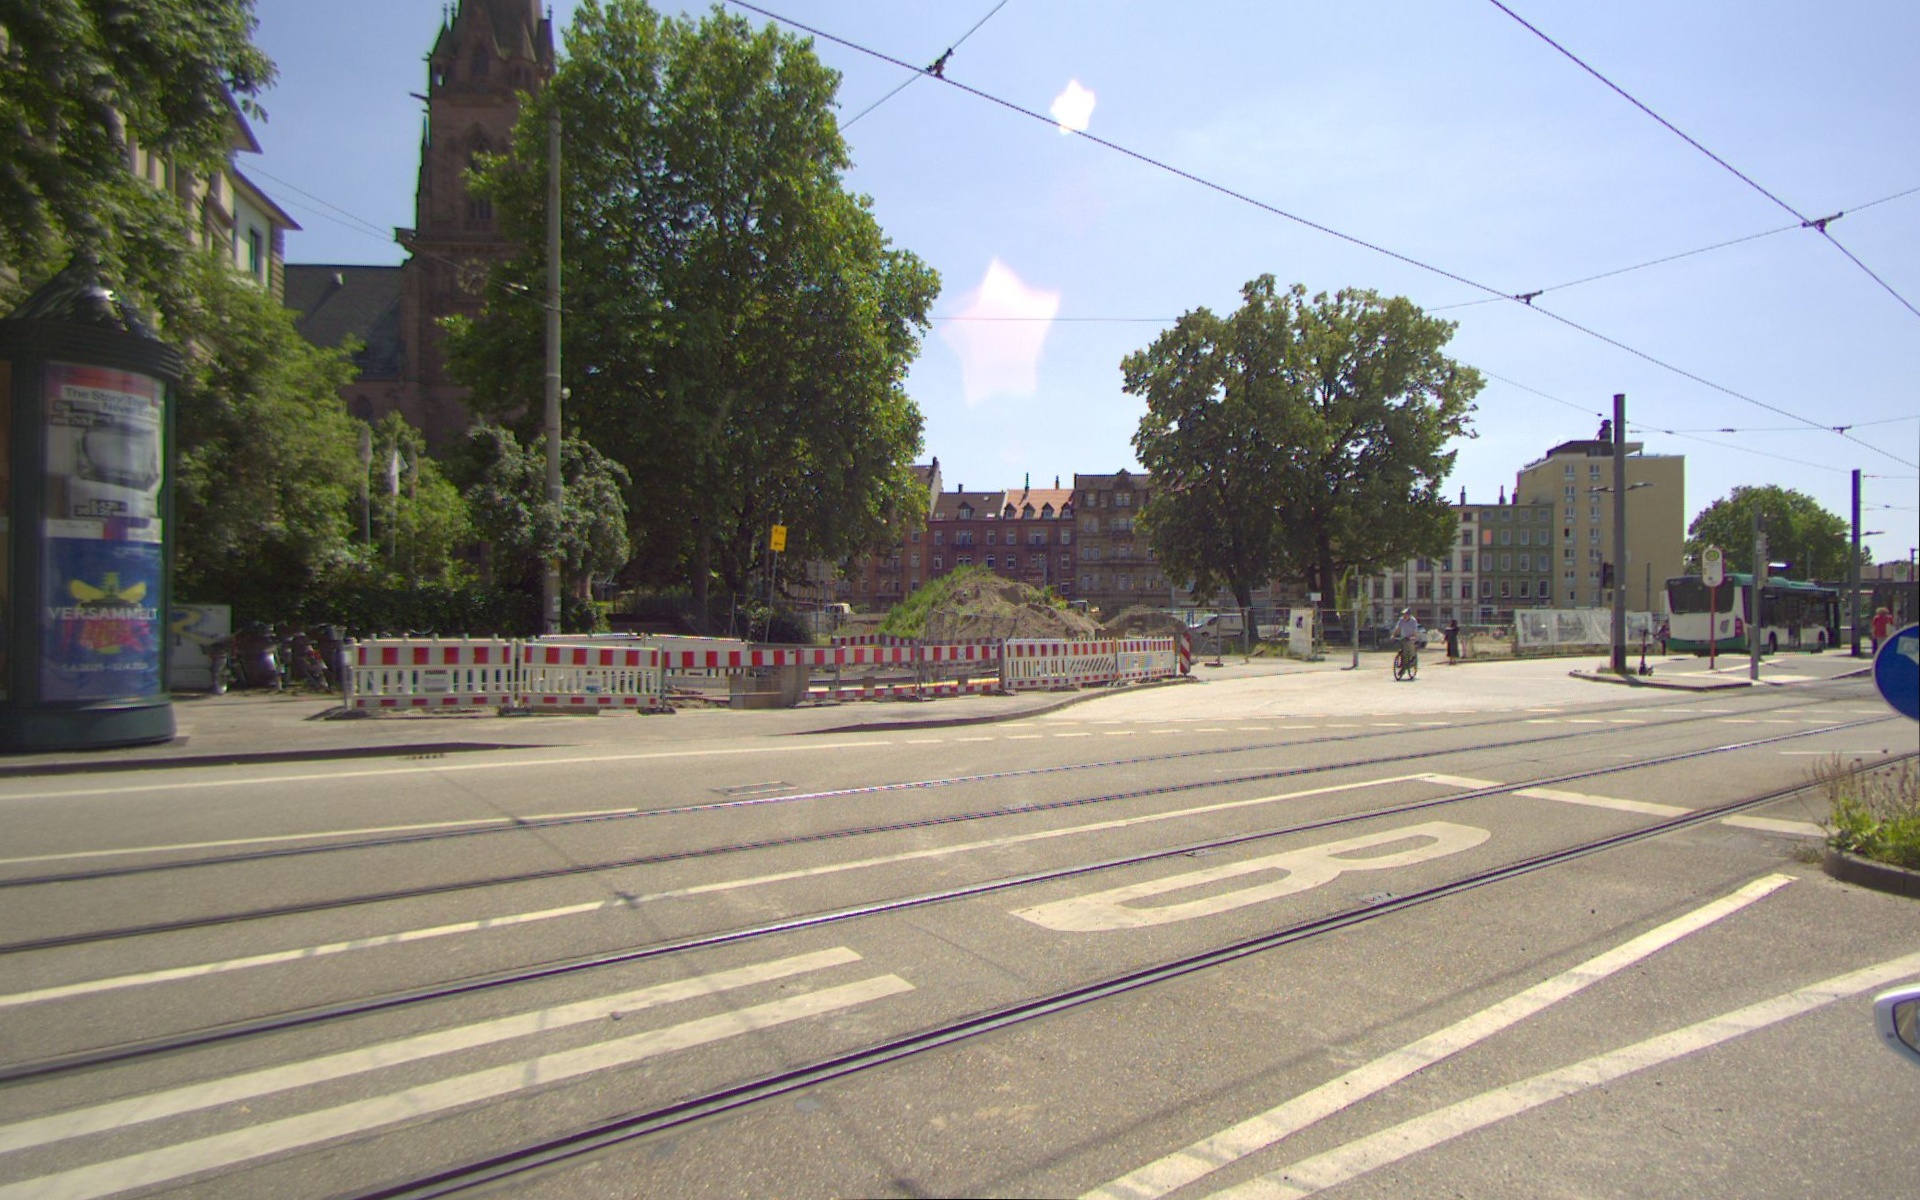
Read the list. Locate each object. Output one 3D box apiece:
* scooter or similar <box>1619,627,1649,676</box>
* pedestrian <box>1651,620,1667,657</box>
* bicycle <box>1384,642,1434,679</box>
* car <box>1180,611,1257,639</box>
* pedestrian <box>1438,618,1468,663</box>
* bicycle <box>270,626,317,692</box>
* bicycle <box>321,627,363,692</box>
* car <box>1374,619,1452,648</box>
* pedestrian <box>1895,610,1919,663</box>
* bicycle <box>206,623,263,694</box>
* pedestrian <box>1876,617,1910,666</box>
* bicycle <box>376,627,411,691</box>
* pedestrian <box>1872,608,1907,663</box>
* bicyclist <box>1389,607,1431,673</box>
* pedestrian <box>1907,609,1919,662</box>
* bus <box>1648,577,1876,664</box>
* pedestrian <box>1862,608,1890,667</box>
[{"bbox_3d":[17.440,1.320,25.972,1.238,1.222,0.316,1,-1,-41],"label":"scooter or similar"},{"bbox_3d":[32.992,1.825,47.423,0.394,1.728,0.561,1,-1,-42],"label":"pedestrian"},{"bbox_3d":[12.090,1.613,26.986,0.498,0.926,2.357,0,-1,43],"label":"bicycle"},{"bbox_3d":[18.376,1.797,71.512,4.954,1.909,2.112,1,-1,-16],"label":"car"},{"bbox_3d":[18.097,1.490,36.868,0.814,1.623,0.604,1,-1,-25],"label":"pedestrian"},{"bbox_3d":[-11.971,1.039,18.064,0.498,1.117,1.726,1,-1,-27],"label":"bicycle"},{"bbox_3d":[-11.317,1.061,18.419,0.498,1.117,1.726,1,-1,-27],"label":"bicycle"},{"bbox_3d":[27.280,1.981,60.589,1.825,1.671,4.173,1,-1,-23],"label":"car"},{"bbox_3d":[37.922,1.448,40.141,0.815,2.124,0.638,-1,-1,44],"label":"pedestrian"},{"bbox_3d":[-12.729,0.998,17.661,0.457,1.162,1.678,2,-1,-24],"label":"bicycle"},{"bbox_3d":[35.839,1.587,38.588,0.653,1.876,0.902,1,-1,-45],"label":"pedestrian"},{"bbox_3d":[-10.591,1.081,18.809,0.498,1.117,1.726,1,-1,-27],"label":"bicycle"},{"bbox_3d":[34.936,1.336,37.743,1.022,2.016,0.932,1,-1,-45],"label":"pedestrian"},{"bbox_3d":[12.070,1.053,26.940,0.812,1.732,0.766,0,-1,43],"label":"bicyclist"},{"bbox_3d":[38.893,1.422,40.594,0.889,2.124,0.827,-1,-1,44],"label":"pedestrian"},{"bbox_3d":[34.955,0.931,43.234,17.323,3.200,2.991,1,-1,-35],"label":"bus"},{"bbox_3d":[30.473,1.230,33.417,0.636,1.935,0.666,1,-1,-45],"label":"pedestrian"}]
